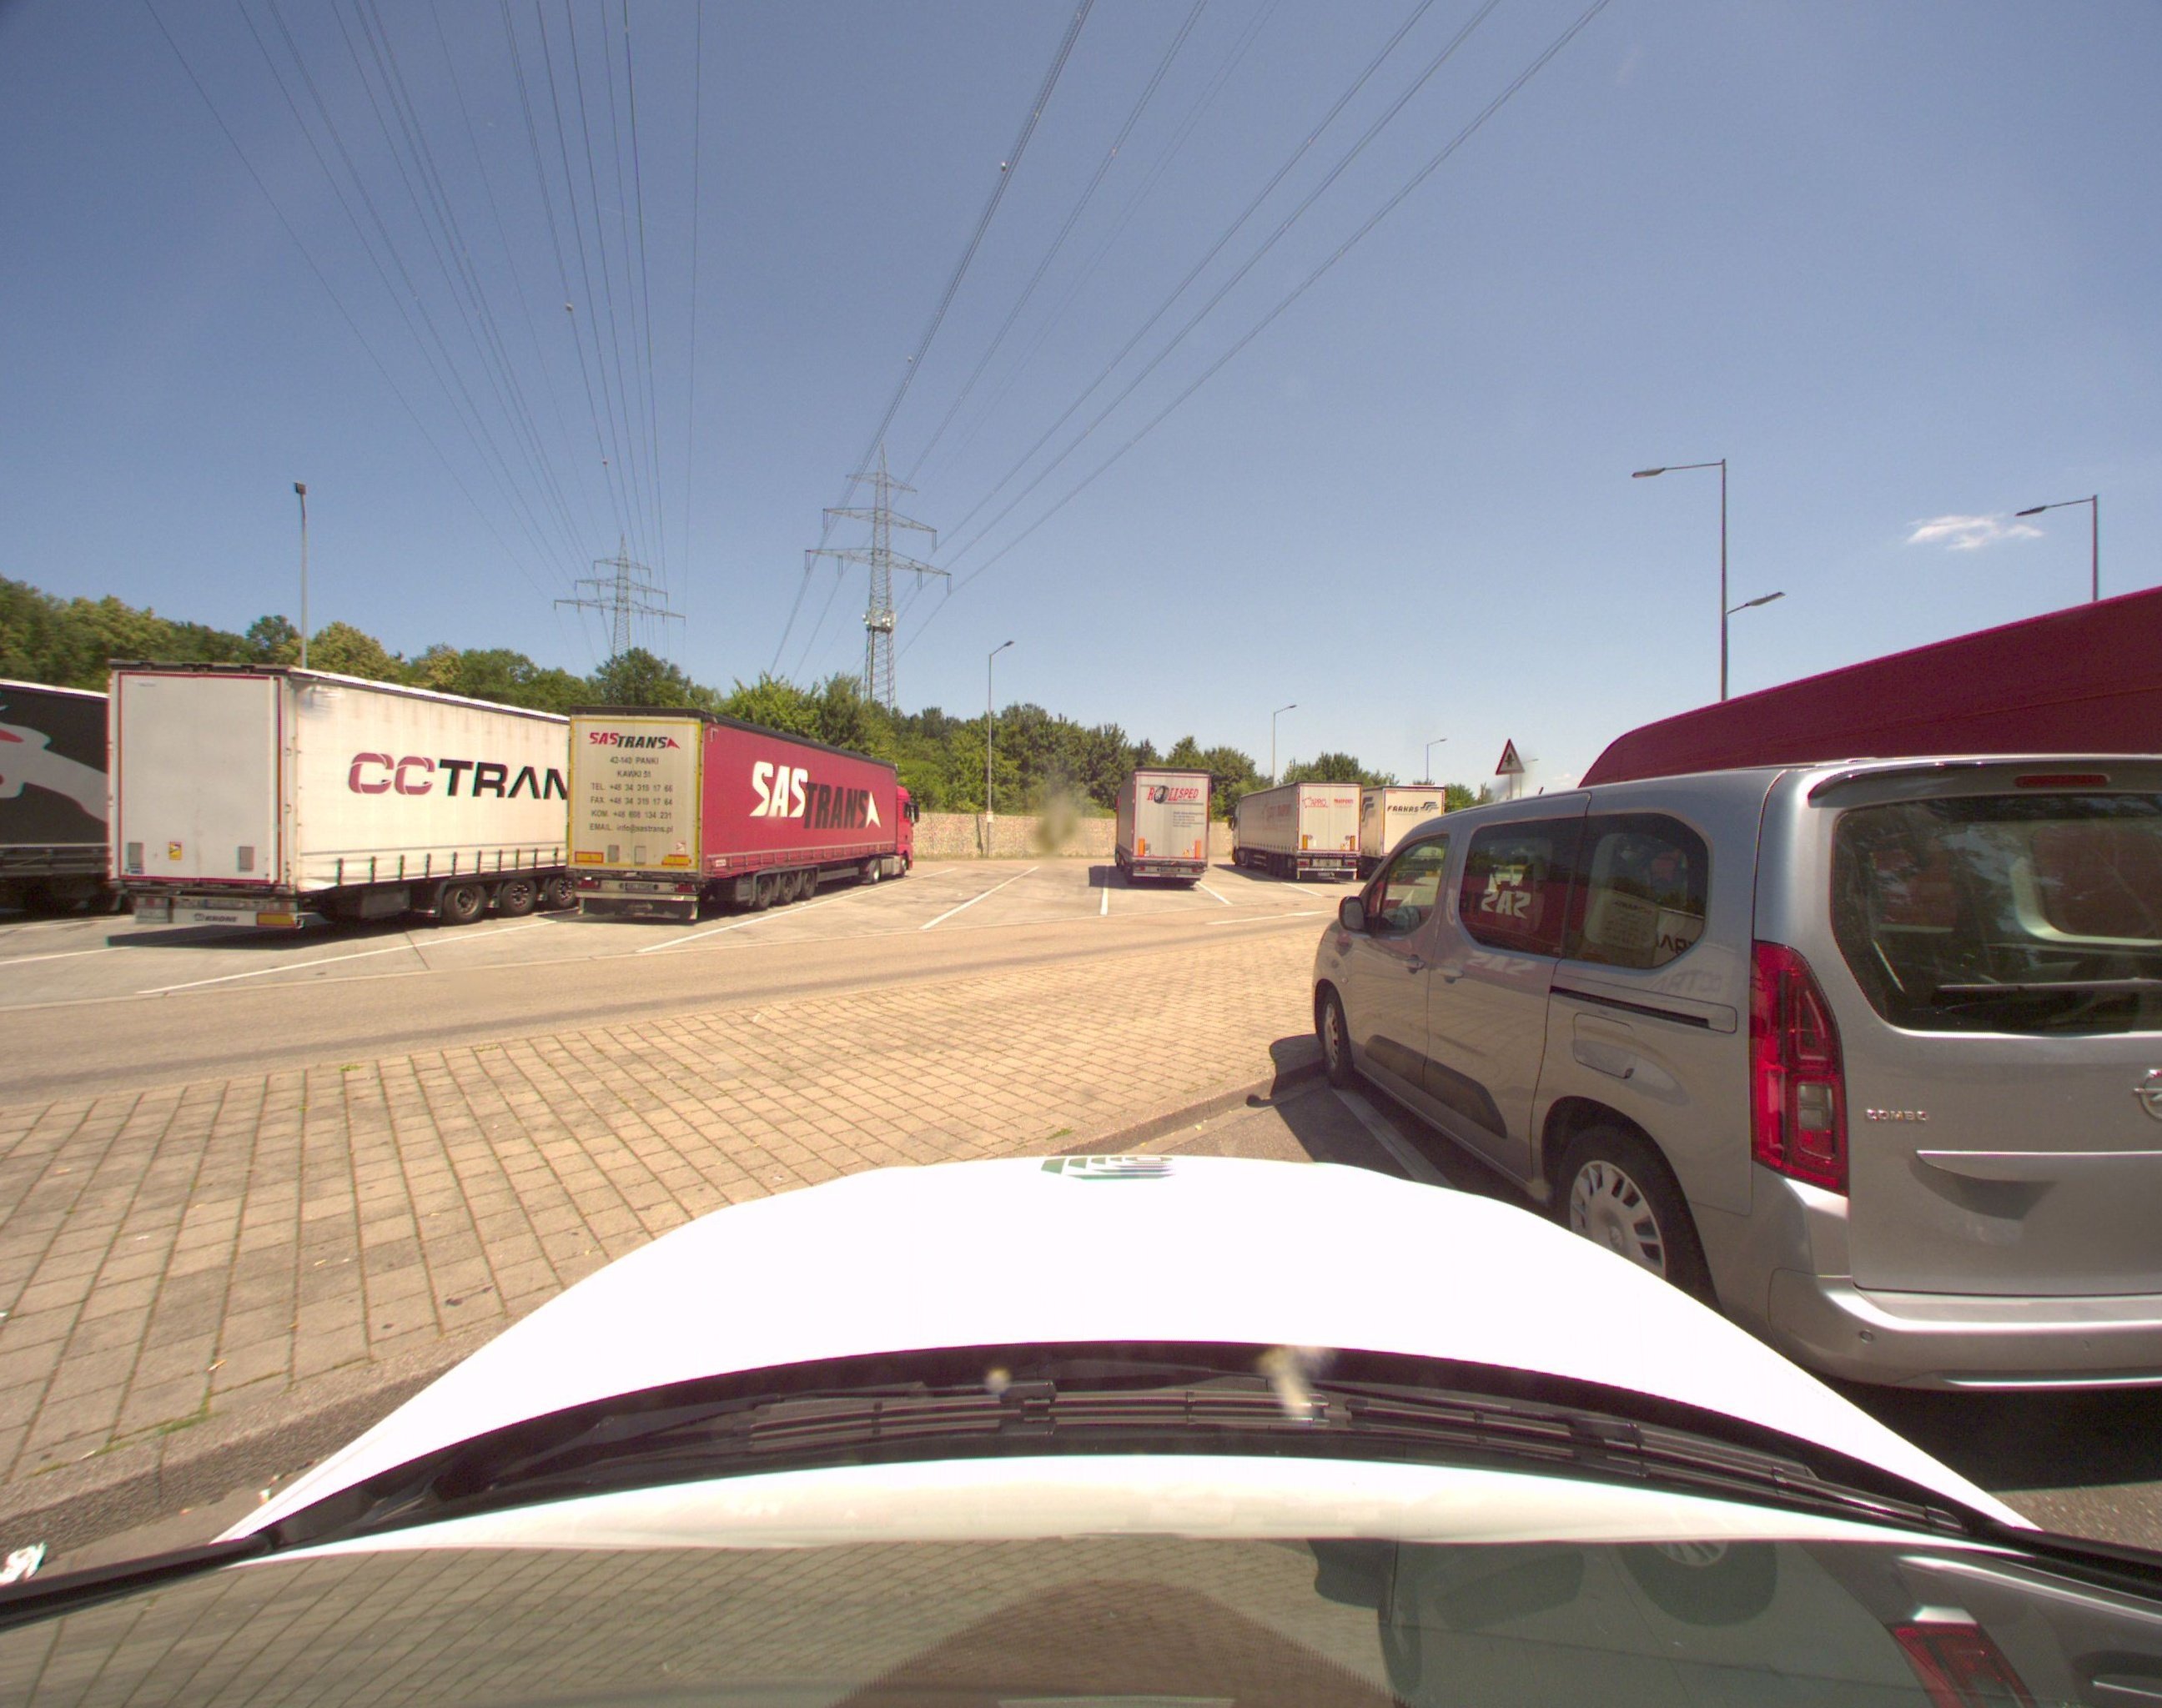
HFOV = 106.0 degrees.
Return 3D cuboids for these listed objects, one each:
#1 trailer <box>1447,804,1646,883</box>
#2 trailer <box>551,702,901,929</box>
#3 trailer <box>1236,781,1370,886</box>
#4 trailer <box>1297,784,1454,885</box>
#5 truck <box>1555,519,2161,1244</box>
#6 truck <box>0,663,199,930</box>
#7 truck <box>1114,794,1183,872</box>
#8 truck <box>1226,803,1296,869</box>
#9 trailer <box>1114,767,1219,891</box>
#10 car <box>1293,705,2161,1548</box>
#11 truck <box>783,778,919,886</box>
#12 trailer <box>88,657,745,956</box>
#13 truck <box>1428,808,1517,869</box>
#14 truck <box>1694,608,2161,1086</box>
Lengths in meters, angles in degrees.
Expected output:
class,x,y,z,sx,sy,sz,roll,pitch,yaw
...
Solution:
class,x,y,z,sx,sy,sz,roll,pitch,yaw
trailer,24.108,-0.736,43.765,2.801,3.507,14.403,1,2,2
trailer,-8.057,-0.948,21.920,2.781,4.084,14.139,1,2,2
trailer,9.937,-1.046,38.657,2.801,3.989,14.403,1,2,2
trailer,13.610,-1.037,39.620,2.801,3.989,14.403,1,2,2
truck,5.140,0.120,4.920,1.968,2.622,5.314,0,-1,7
truck,-18.535,-0.969,13.800,2.726,4.239,3.997,1,2,2
truck,3.238,-1.082,40.603,3.092,3.566,5.903,1,2,2
truck,10.200,-1.077,46.758,2.852,3.521,5.903,1,2,2
trailer,3.071,-1.065,33.709,3.122,3.989,14.401,1,2,1
car,2.494,0.575,3.897,1.864,1.863,4.176,1,1,0
truck,-7.809,-0.785,28.490,2.840,3.327,5.903,1,2,2
trailer,-12.122,-0.911,18.351,2.785,4.084,14.139,1,2,2
truck,24.365,-1.008,50.996,2.792,3.521,5.903,1,2,2
truck,7.996,-0.036,6.468,2.444,2.912,5.663,-1,-1,7
